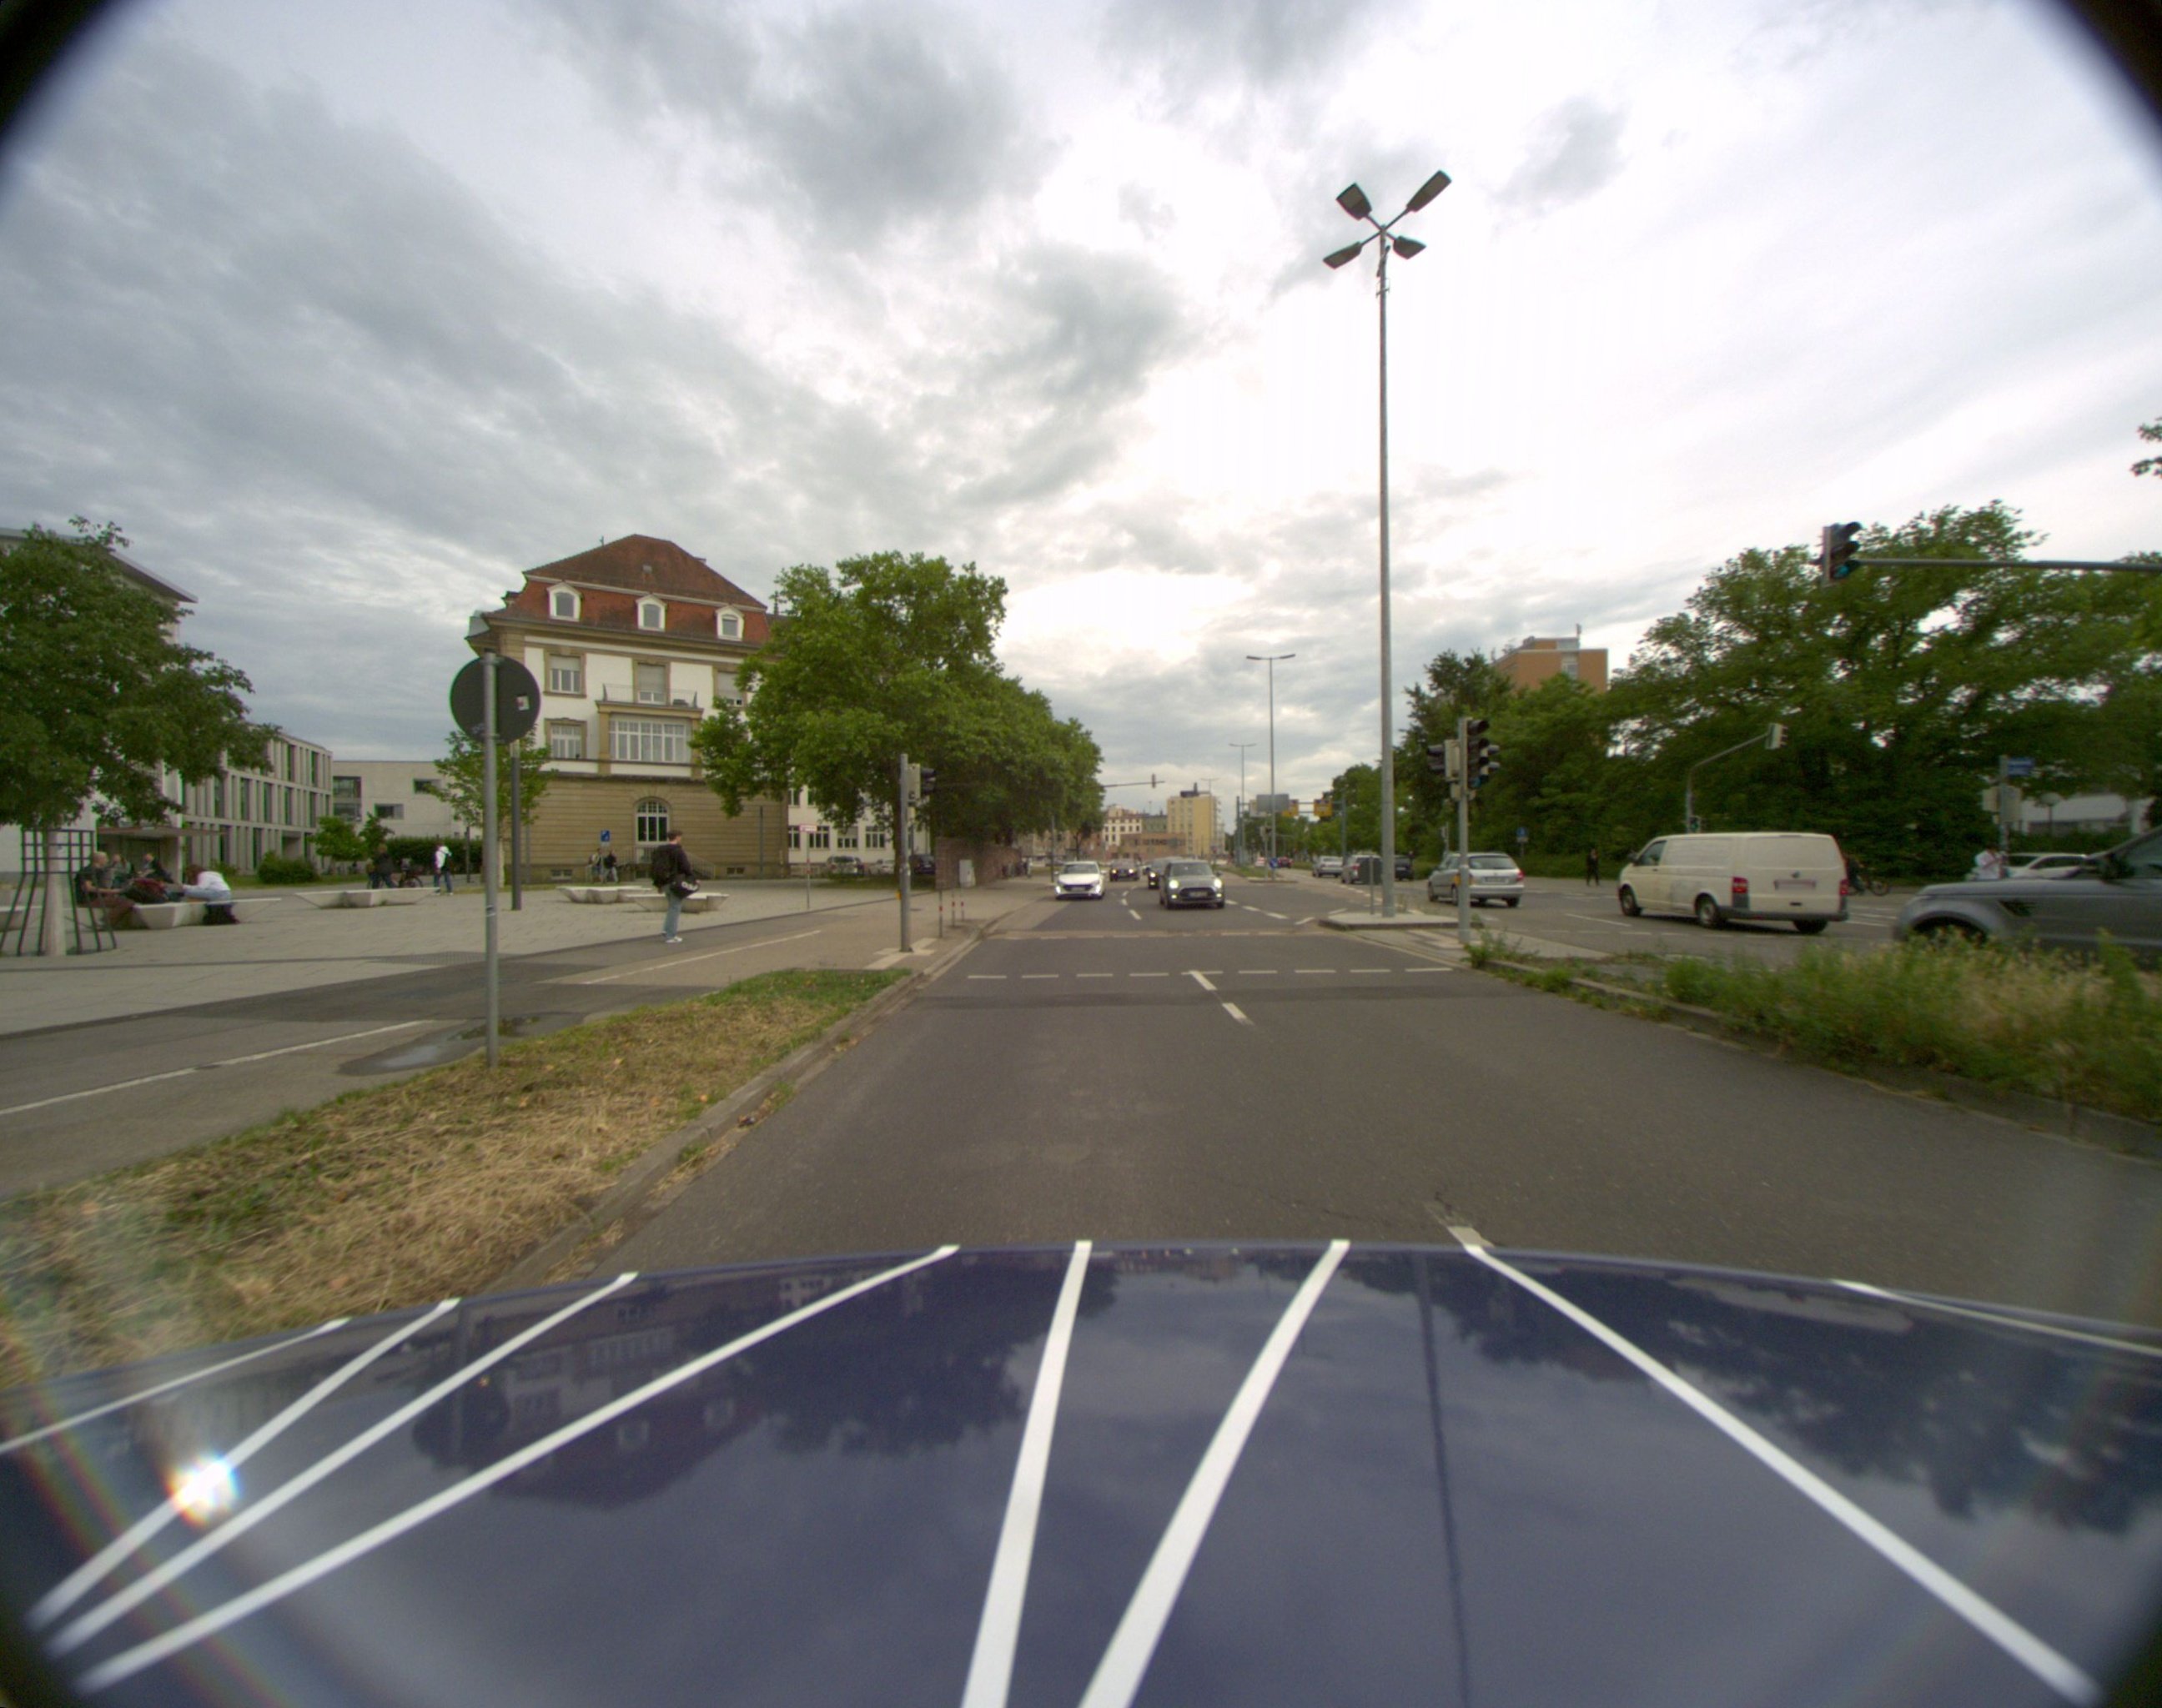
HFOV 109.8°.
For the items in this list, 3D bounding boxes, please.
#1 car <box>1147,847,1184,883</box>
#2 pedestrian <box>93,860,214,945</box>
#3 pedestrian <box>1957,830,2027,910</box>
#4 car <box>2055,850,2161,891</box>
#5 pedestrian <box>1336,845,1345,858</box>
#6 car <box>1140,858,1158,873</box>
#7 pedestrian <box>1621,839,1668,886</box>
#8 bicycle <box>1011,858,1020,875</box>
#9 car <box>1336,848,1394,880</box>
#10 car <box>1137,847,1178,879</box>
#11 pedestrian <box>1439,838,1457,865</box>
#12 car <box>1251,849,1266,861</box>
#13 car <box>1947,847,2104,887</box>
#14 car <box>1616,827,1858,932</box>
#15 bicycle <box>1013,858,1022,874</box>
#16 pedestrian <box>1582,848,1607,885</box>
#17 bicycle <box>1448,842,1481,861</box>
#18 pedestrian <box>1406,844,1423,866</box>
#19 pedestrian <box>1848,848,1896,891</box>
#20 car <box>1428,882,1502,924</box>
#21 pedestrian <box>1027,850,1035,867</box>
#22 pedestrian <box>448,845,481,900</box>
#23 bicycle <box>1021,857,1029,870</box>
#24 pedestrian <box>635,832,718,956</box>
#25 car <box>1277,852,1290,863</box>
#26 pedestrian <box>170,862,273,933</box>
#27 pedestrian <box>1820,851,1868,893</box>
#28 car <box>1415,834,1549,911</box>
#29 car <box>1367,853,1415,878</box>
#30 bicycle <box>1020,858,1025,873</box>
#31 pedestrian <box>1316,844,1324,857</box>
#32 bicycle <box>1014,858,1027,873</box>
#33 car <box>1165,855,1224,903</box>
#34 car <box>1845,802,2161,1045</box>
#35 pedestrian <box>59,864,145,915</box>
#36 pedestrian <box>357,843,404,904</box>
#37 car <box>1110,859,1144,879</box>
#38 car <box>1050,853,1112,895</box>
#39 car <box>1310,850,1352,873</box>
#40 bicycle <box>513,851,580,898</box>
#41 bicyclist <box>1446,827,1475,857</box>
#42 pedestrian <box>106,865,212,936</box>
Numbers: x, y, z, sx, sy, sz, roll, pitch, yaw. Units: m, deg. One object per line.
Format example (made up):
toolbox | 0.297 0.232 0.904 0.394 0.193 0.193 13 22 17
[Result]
car | 4.997 0.628 44.534 1.997 2.002 4.003 0 0 9
pedestrian | -15.852 0.802 13.011 0.911 1.359 0.878 -2 0 -4
pedestrian | 23.969 0.418 20.010 0.668 2.046 0.853 -2 -2 -5
car | 40.712 0.599 29.086 3.995 1.383 2.001 -2 0 6
pedestrian | 39.176 -0.401 114.821 1.136 1.907 1.163 -2 0 12
car | 6.945 1.156 76.972 1.605 1.360 3.581 -3 0 8
pedestrian | 24.850 0.365 33.522 1.184 2.002 1.140 -2 0 -14
bicycle | -4.661 0.883 53.969 0.386 1.137 1.940 -2 0 -11
car | 14.854 0.520 39.982 1.961 1.574 4.259 -2 -1 8
car | 3.749 0.427 36.924 1.731 1.450 4.003 0 0 9
pedestrian | 28.785 -0.189 59.599 0.908 2.000 0.824 -5 -4 13
car | 27.067 0.133 115.748 1.892 1.762 4.003 -2 0 9
car | 36.848 0.499 29.727 3.592 1.441 1.863 -2 0 5
car | 13.307 0.460 15.854 1.774 1.837 4.492 -2 0 11
bicycle | -4.787 0.897 57.143 0.386 1.137 1.940 -2 0 -11
pedestrian | 23.742 0.573 35.148 0.590 1.685 0.653 4 1 8
bicycle | 26.694 -0.160 52.933 0.607 1.325 2.308 -2 0 -14
pedestrian | 25.969 0.072 59.175 0.990 1.616 0.814 -2 0 6
pedestrian | 28.255 0.544 27.169 0.823 1.504 0.976 0 1 18
car | 16.993 2.128 33.830 1.997 1.610 4.004 0 0 12
pedestrian | -5.837 0.554 88.670 0.784 2.002 0.888 1 1 -14
pedestrian | -22.059 0.641 27.191 0.655 1.948 0.686 0 1 -13
bicycle | -4.794 0.781 65.463 0.478 1.070 2.083 0 0 2
pedestrian | -6.766 0.649 12.758 0.844 2.002 0.895 0 1 7
car | 30.518 0.486 114.380 1.852 1.543 4.005 -1 0 16
pedestrian | -16.067 0.802 14.233 0.910 1.250 0.879 -2 0 8
pedestrian | 27.428 0.642 27.313 0.701 1.420 0.998 -2 0 -23
car | 11.305 0.481 21.758 1.998 2.002 4.001 0 0 5
car | 18.857 0.692 46.370 1.856 1.455 3.699 0 0 8
bicycle | -4.647 0.901 60.272 0.339 1.137 1.941 -2 0 -6
pedestrian | 38.392 -0.590 122.167 0.881 2.002 1.221 -2 0 1
bicycle | -4.659 0.896 58.640 0.386 1.137 1.938 -3 0 -22
car | 3.488 0.712 23.202 1.624 1.310 3.708 0 0 9
car | 8.435 0.445 5.013 1.998 1.677 4.949 -2 0 4
pedestrian | -16.836 0.601 13.075 0.635 0.819 0.734 0 1 21
pedestrian | -22.131 0.604 24.019 0.738 1.875 0.888 0 1 -13
car | 2.985 0.955 49.175 1.702 1.181 2.832 -2 0 13
car | 0.077 0.725 29.481 1.812 1.532 4.003 0 0 9
car | 16.944 0.498 51.710 1.997 1.520 4.276 0 0 8
bicycle | -17.254 0.649 24.546 1.648 1.461 0.602 0 1 -15
bicyclist | 26.443 -0.819 53.006 1.184 2.002 1.280 -2 0 -14
pedestrian | -17.232 0.850 14.223 0.910 1.250 0.879 -2 0 8
